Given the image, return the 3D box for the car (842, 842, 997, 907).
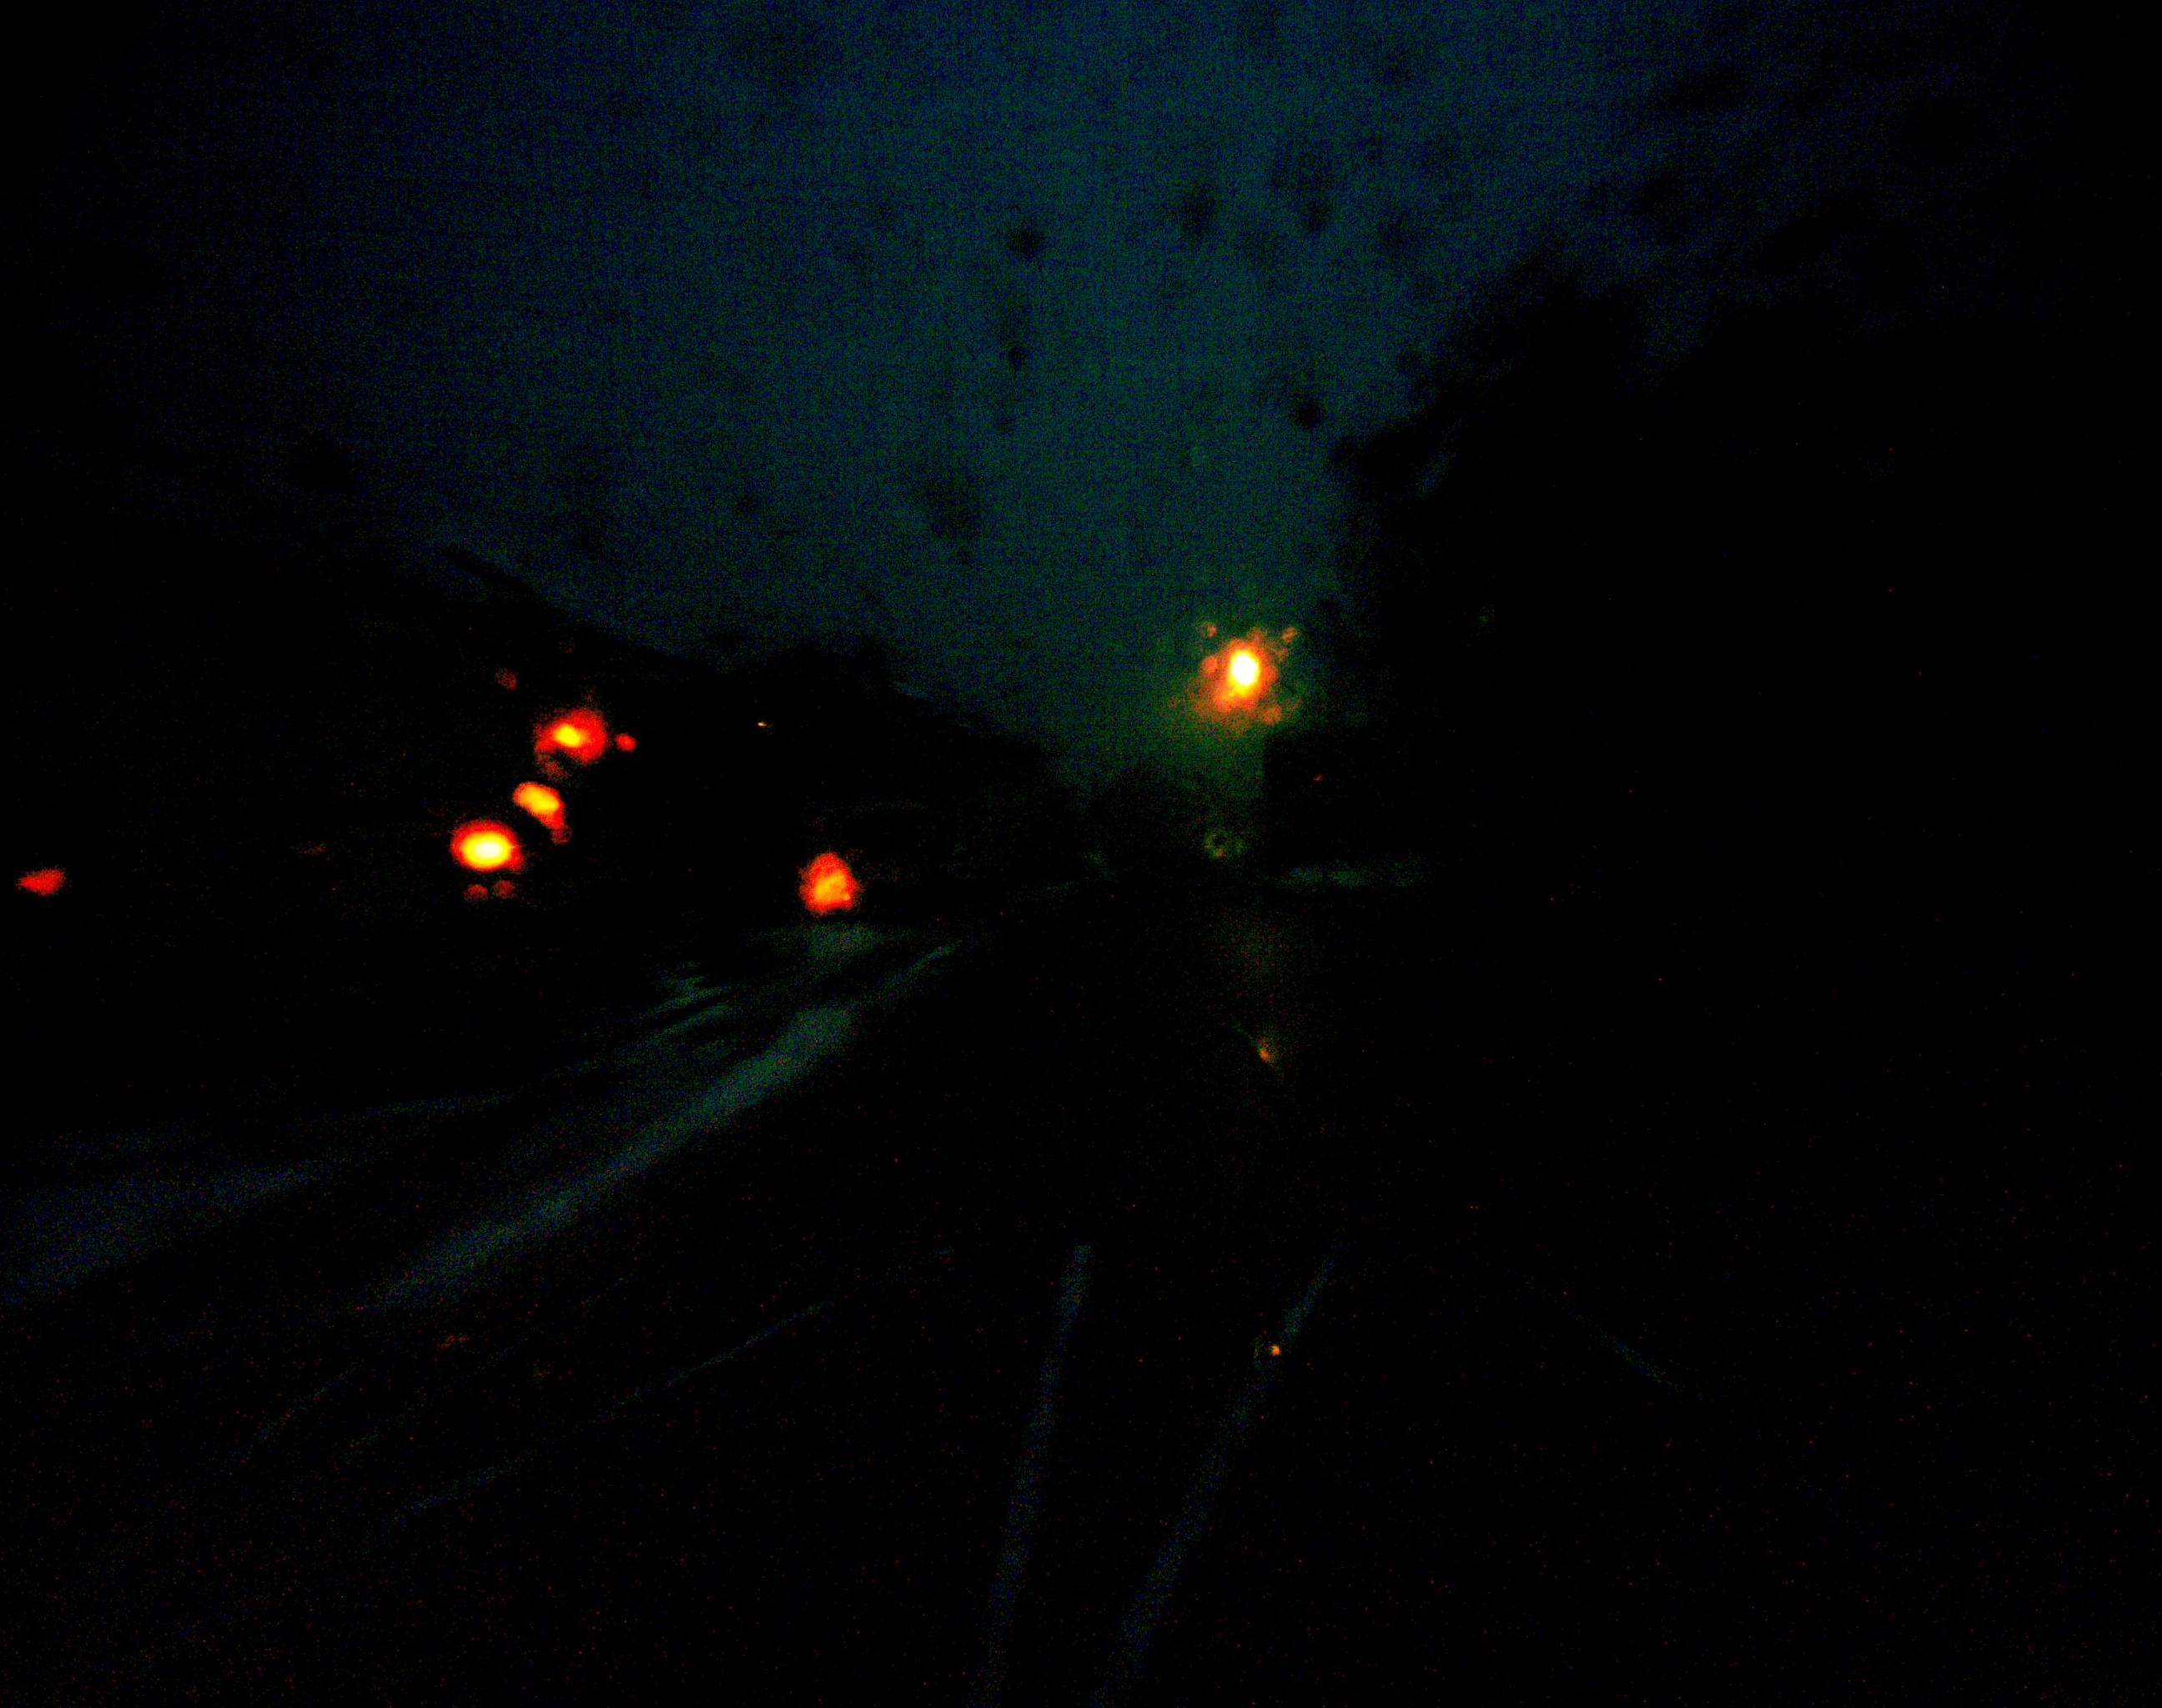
[{"bbox_3d":[-4.972,0.620,23.578,4.211,1.848,1.913,-1,2,15],"label":"car"}]
